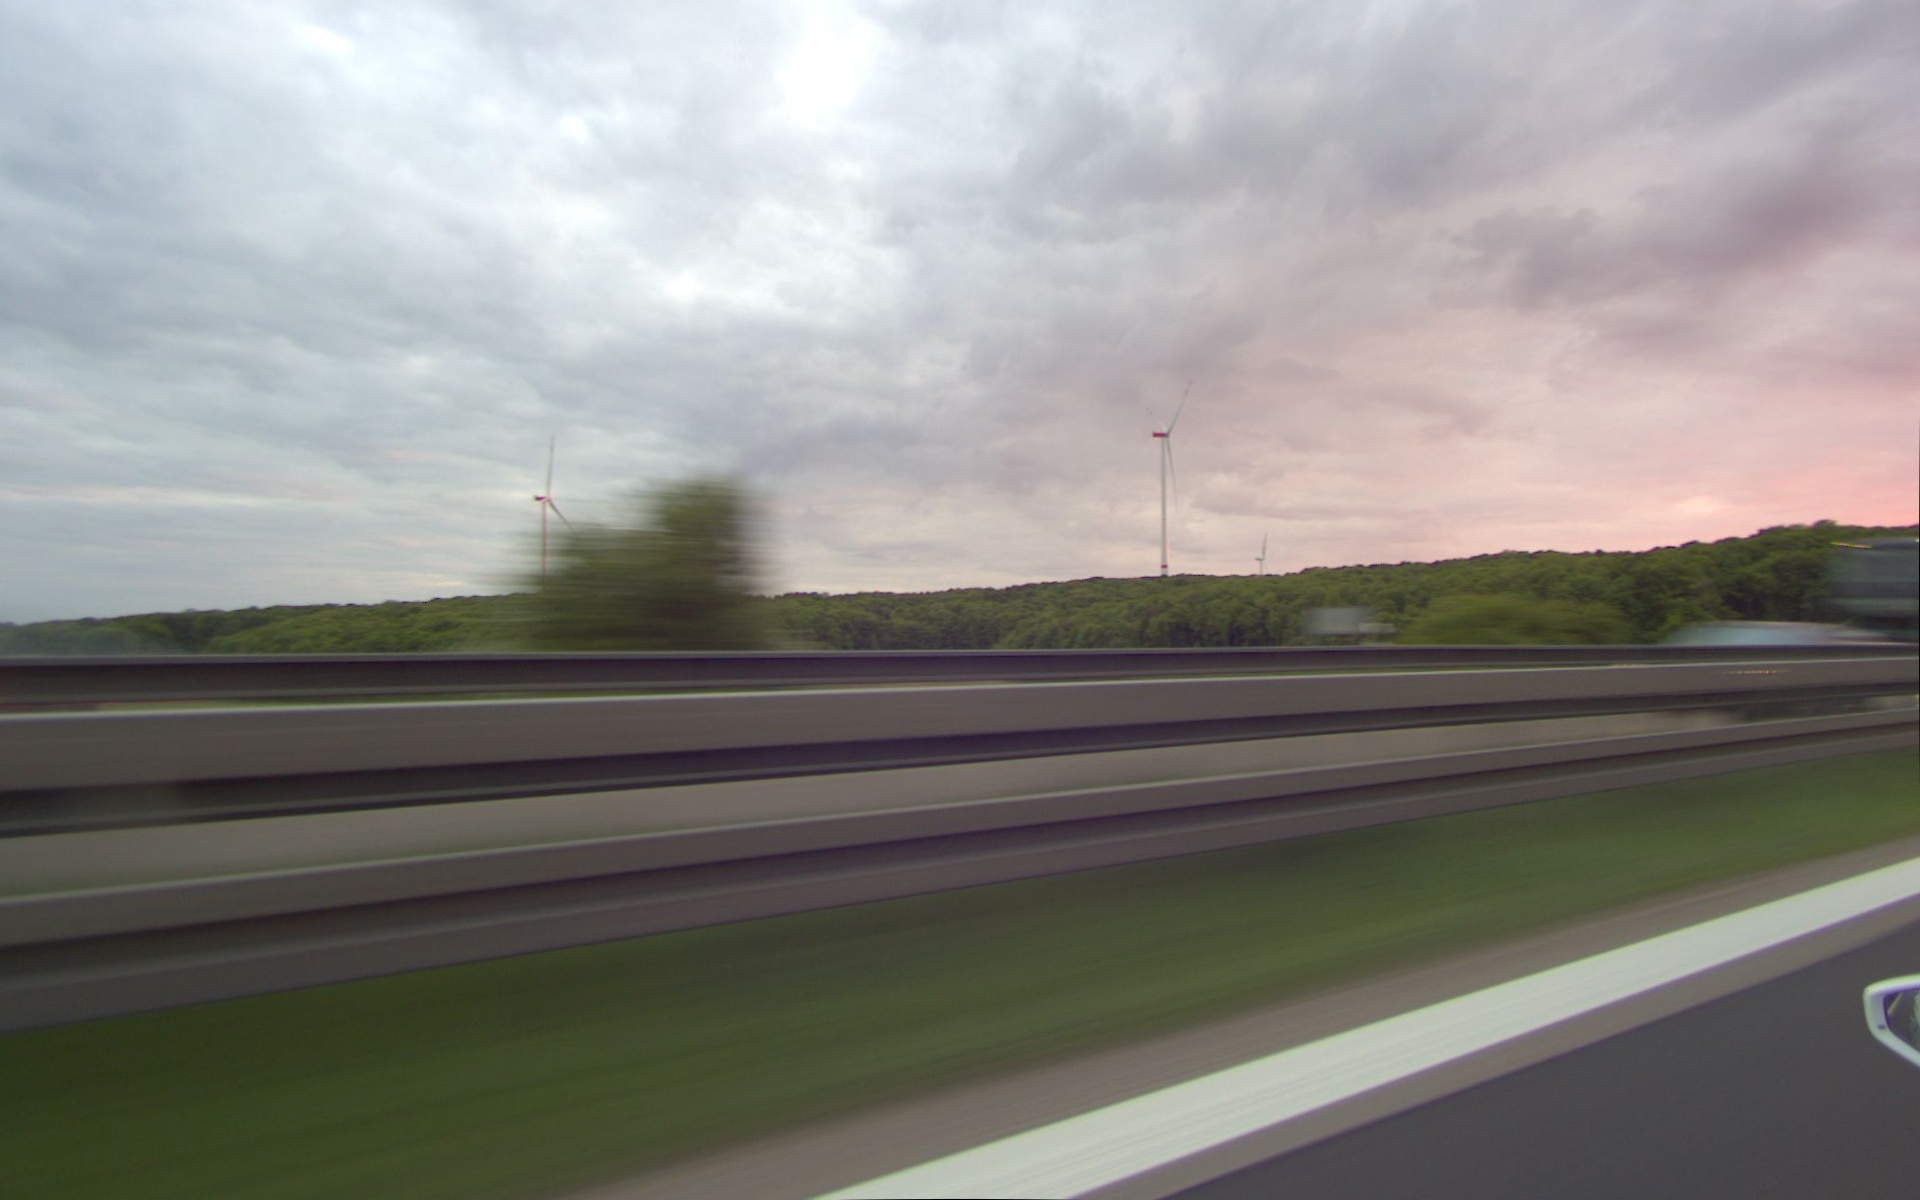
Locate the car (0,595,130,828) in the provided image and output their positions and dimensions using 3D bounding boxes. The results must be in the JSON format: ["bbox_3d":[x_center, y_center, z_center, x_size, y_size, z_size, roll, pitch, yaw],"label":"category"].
[{"bbox_3d":[-8.543,0.720,6.427,4.674,1.530,1.907,2,-3,-30],"label":"car"}]

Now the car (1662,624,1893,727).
[{"bbox_3d":[14.527,1.279,17.793,4.415,1.576,1.624,2,1,-29],"label":"car"}]

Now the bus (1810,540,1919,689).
[{"bbox_3d":[32.533,0.621,31.991,14.626,4.130,3.153,2,0,-28],"label":"bus"}]
